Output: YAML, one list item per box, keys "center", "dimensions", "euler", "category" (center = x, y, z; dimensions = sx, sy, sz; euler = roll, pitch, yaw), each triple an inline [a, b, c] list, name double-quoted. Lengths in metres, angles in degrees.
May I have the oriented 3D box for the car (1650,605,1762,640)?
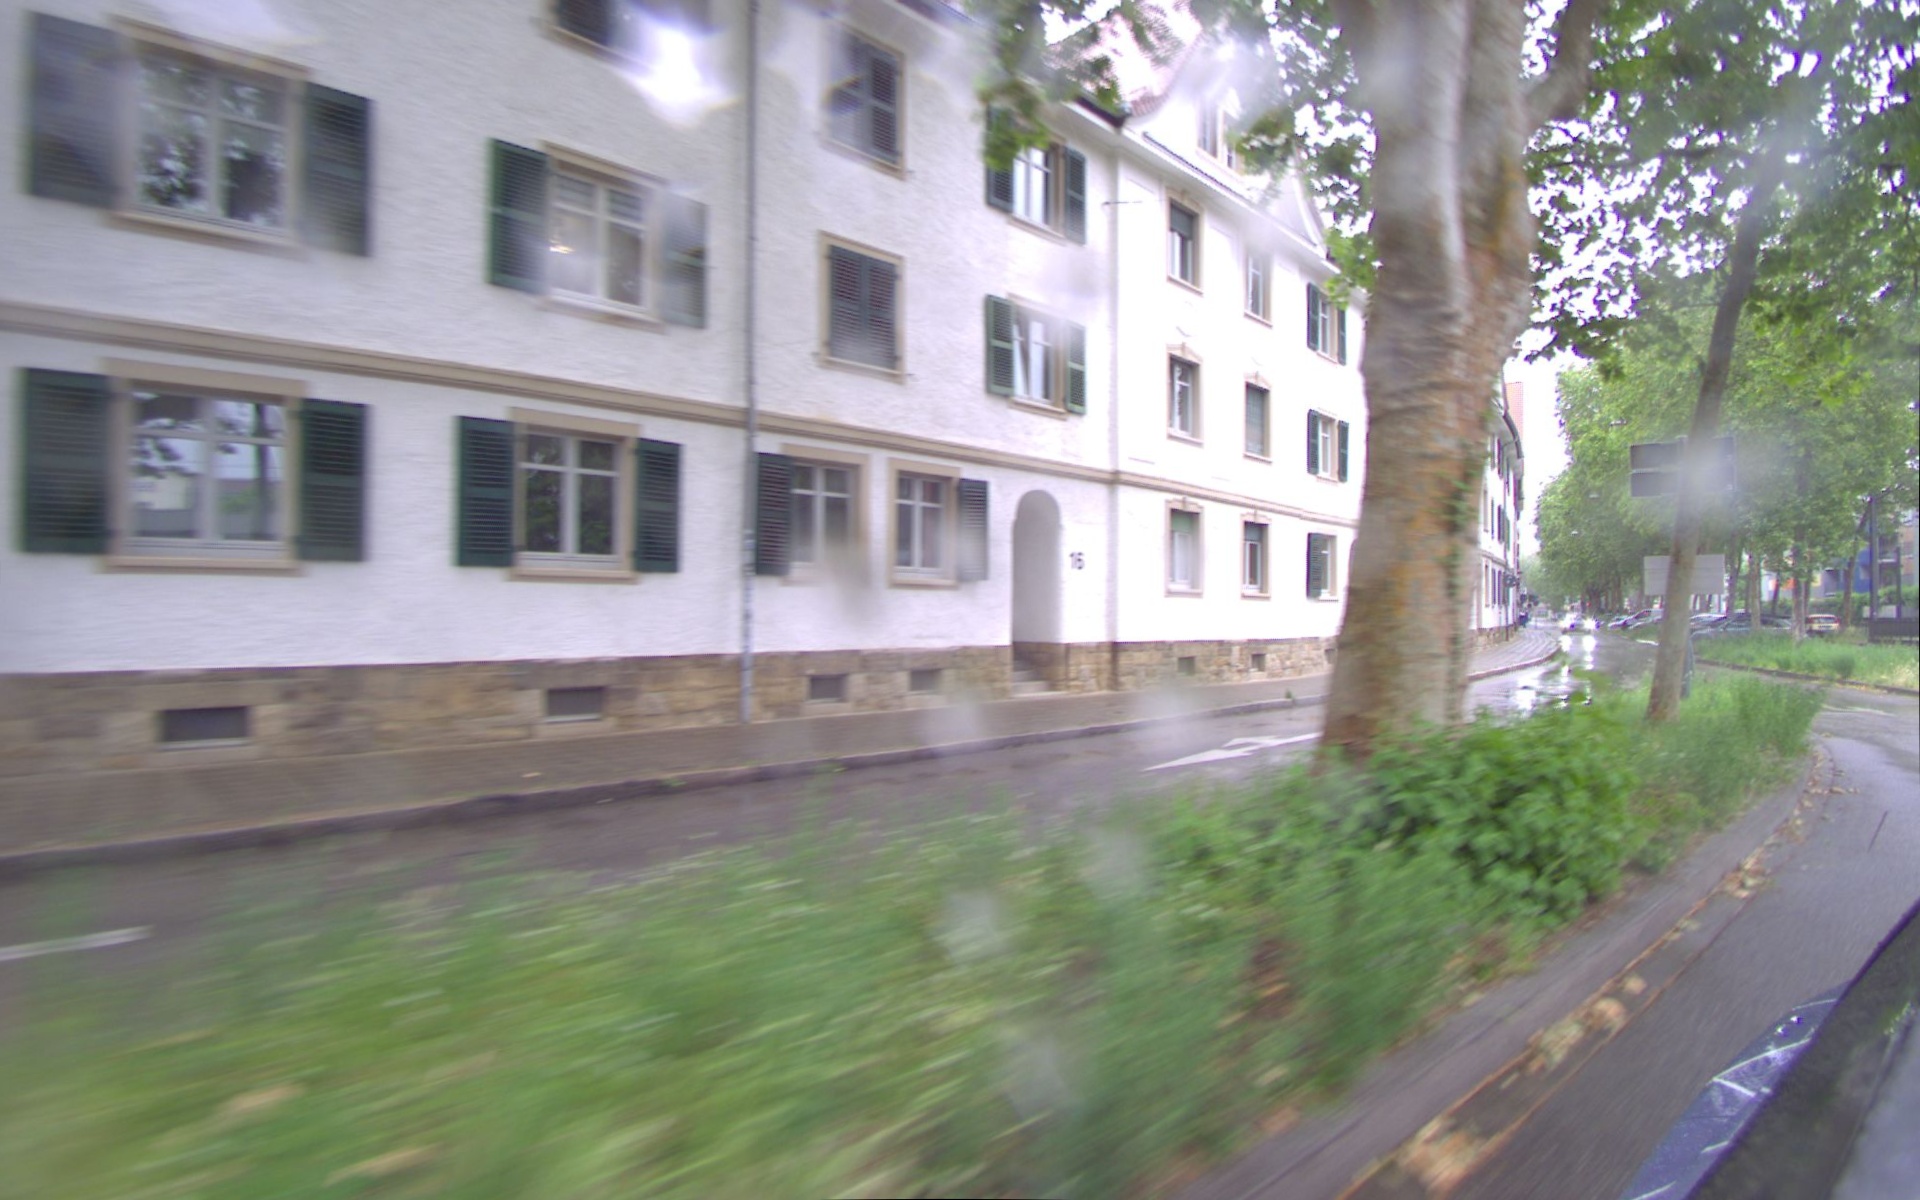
- center: [38.569, 1.147, 52.447]
  dimensions: [1.715, 1.633, 4.335]
  euler: [1, 1, -34]
  category: "car"

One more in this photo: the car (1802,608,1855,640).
- center: [52.385, 1.417, 61.093]
  dimensions: [1.678, 1.745, 3.654]
  euler: [1, 1, 29]
  category: "car"

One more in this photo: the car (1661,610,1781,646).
- center: [36.997, 1.334, 49.333]
  dimensions: [1.713, 1.526, 4.340]
  euler: [1, 1, -28]
  category: "car"

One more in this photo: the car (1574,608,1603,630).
- center: [48.303, 1.409, 77.790]
  dimensions: [1.838, 1.616, 4.168]
  euler: [0, 0, 32]
  category: "car"

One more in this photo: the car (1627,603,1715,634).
- center: [51.814, 1.334, 73.832]
  dimensions: [1.960, 2.039, 4.899]
  euler: [1, 1, -29]
  category: "car"

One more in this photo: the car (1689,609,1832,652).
- center: [32.962, 1.208, 41.784]
  dimensions: [1.892, 1.560, 4.236]
  euler: [1, 1, -29]
  category: "car"

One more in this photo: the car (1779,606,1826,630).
- center: [56.360, 1.170, 67.742]
  dimensions: [1.678, 1.466, 3.959]
  euler: [1, 1, 29]
  category: "car"
